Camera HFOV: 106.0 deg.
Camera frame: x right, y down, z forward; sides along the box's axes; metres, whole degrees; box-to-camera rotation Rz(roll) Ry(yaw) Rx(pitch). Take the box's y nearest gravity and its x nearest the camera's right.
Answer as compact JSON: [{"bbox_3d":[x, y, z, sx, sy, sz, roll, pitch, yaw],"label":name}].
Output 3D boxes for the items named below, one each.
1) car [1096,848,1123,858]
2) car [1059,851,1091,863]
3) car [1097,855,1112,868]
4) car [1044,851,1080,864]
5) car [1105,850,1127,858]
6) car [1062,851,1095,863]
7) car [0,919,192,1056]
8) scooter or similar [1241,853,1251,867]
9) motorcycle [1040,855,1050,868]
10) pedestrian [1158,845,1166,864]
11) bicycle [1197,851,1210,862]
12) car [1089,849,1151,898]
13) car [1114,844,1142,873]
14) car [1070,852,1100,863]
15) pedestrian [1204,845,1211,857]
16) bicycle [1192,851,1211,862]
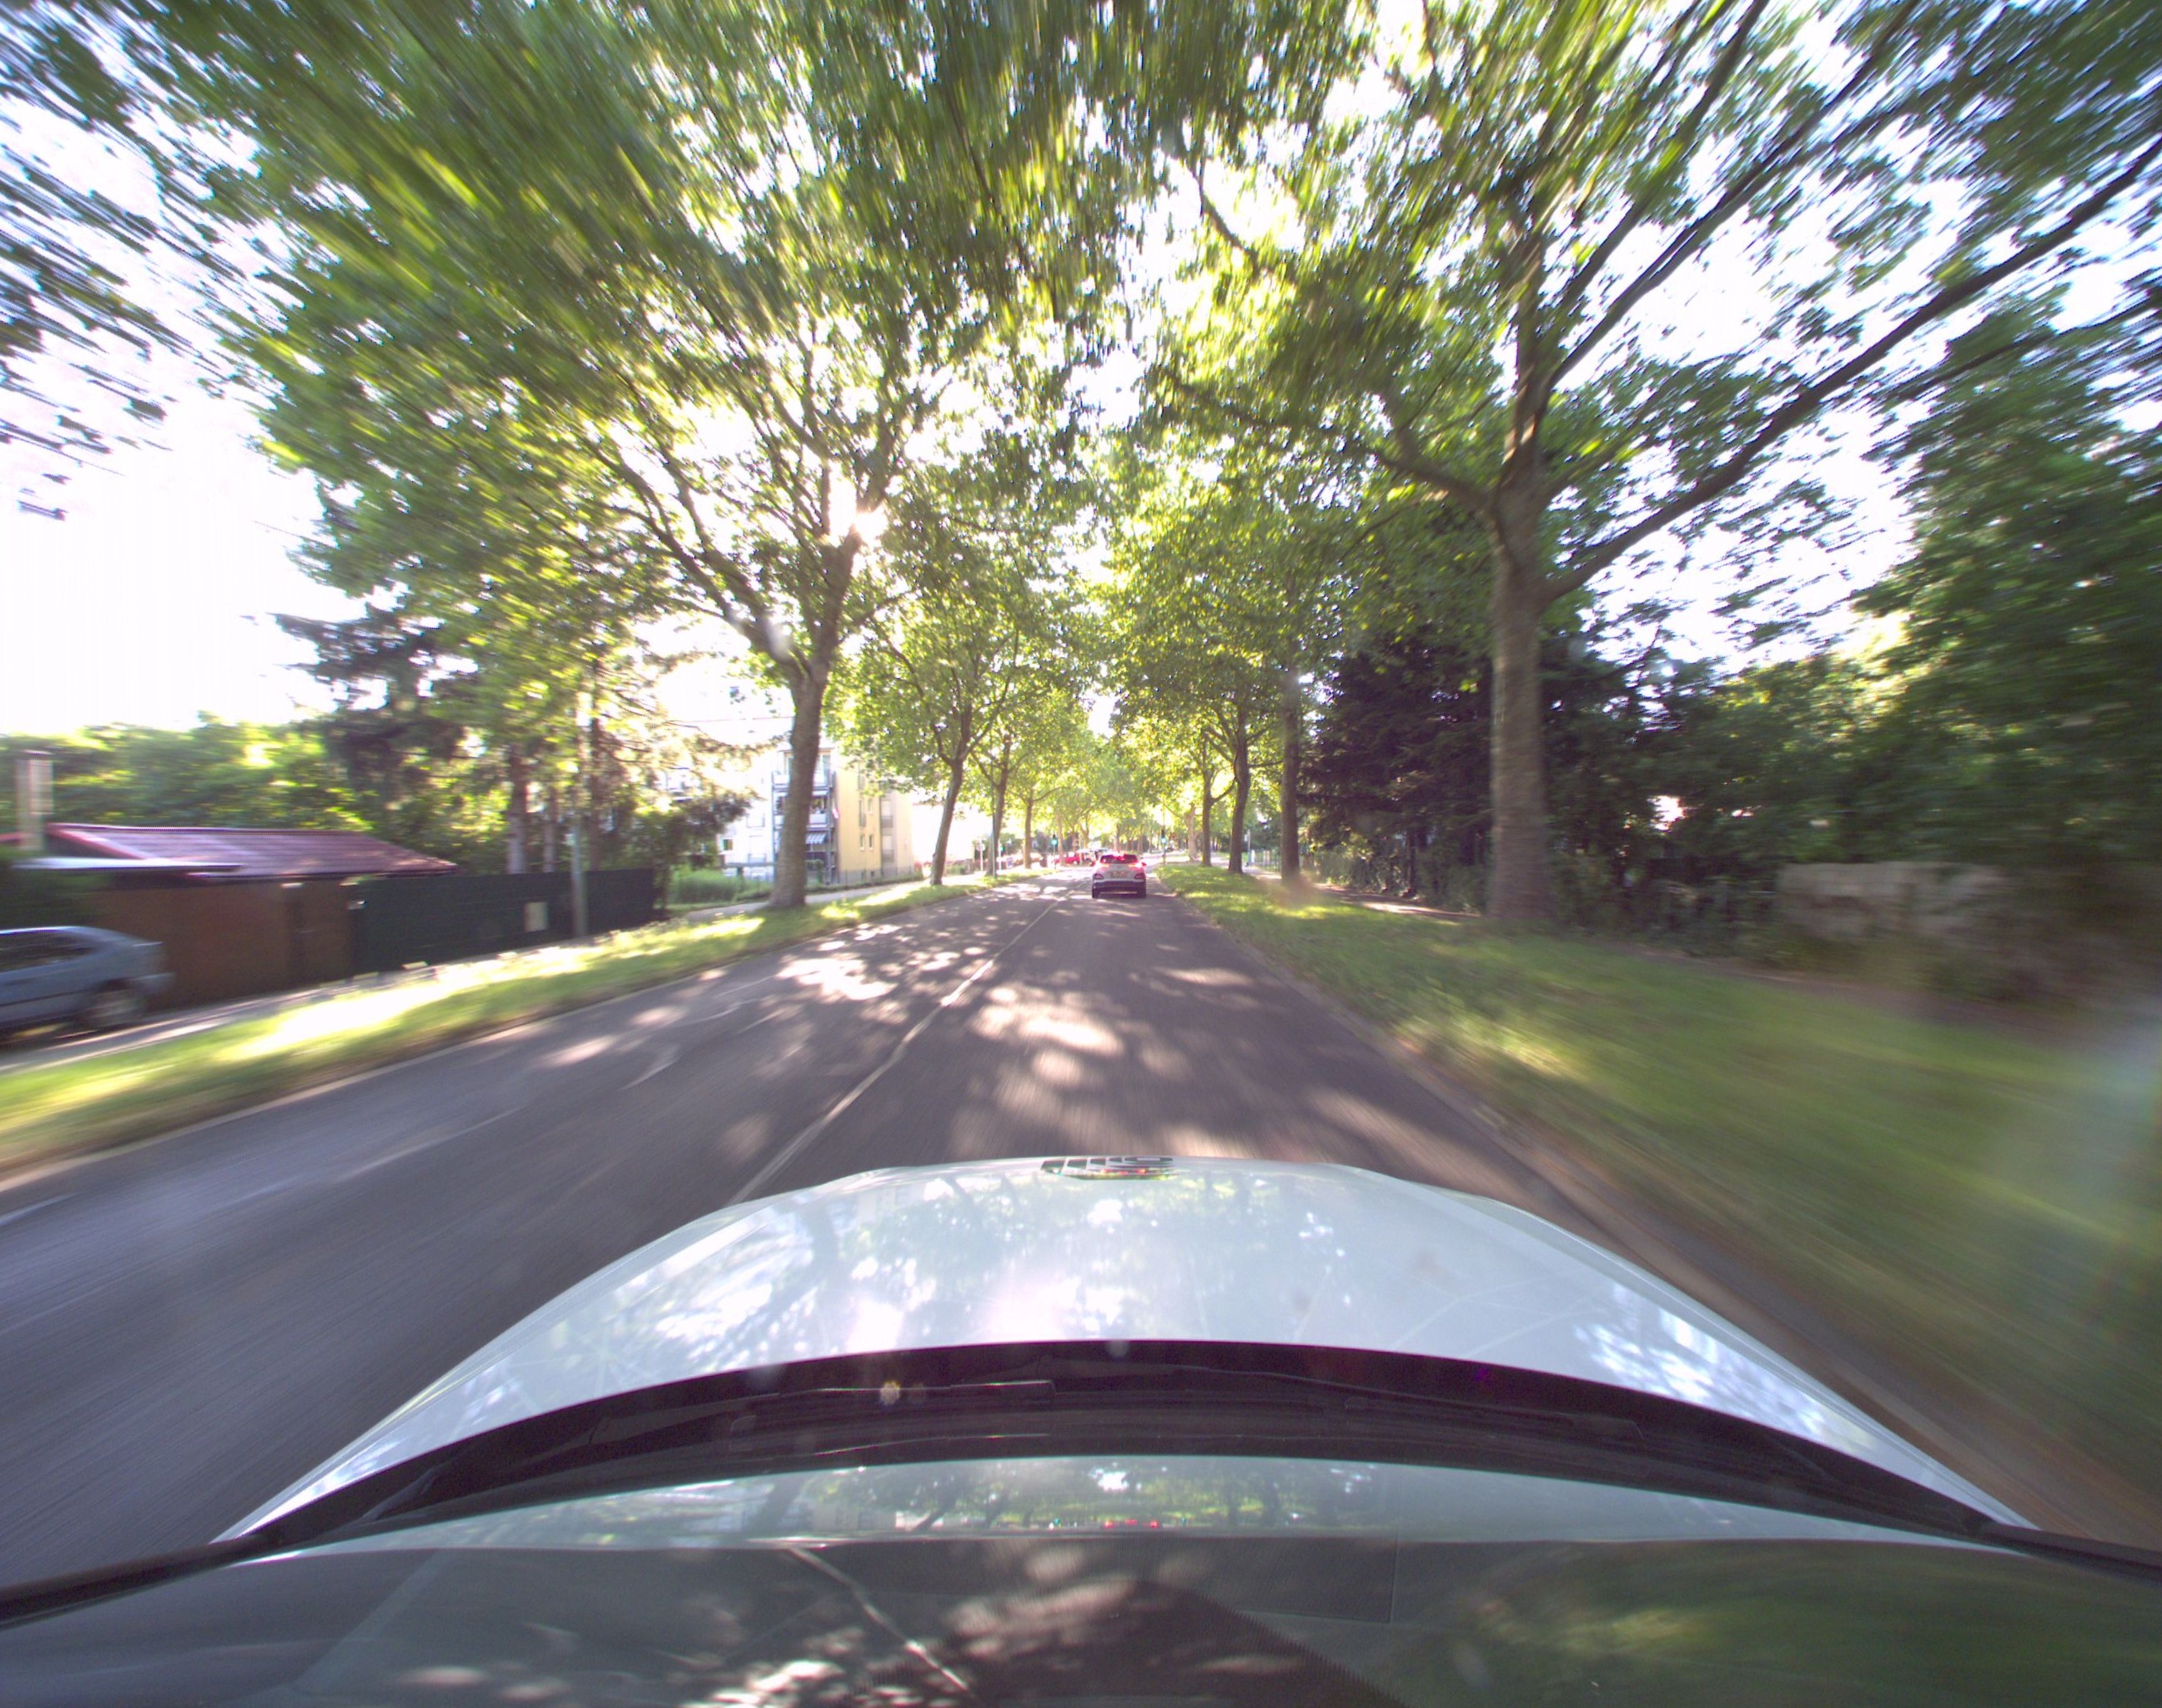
[{"bbox_3d":[4.385,-0.110,125.112,3.968,1.478,2.002,-1,-1,4],"label":"car"},{"bbox_3d":[-0.741,0.379,103.354,3.968,1.478,2.002,-1,-1,4],"label":"car"},{"bbox_3d":[2.849,0.861,97.880,1.680,1.437,3.687,0,1,5],"label":"car"},{"bbox_3d":[-2.206,0.427,95.863,3.968,1.478,2.002,-1,-1,4],"label":"car"},{"bbox_3d":[6.419,-0.015,148.874,3.968,1.478,2.002,-1,-1,4],"label":"car"},{"bbox_3d":[-0.330,0.401,105.693,3.966,1.478,2.004,-1,-1,6],"label":"car"},{"bbox_3d":[-12.655,1.583,8.771,1.747,1.304,3.998,-2,1,-2],"label":"car"},{"bbox_3d":[14.150,0.512,69.931,0.546,1.258,2.316,-1,0,5],"label":"scooter or similar"},{"bbox_3d":[-4.034,0.861,91.248,0.842,1.378,2.779,-1,0,4],"label":"motorcycle"},{"bbox_3d":[8.962,0.026,90.031,0.862,2.013,0.817,-1,1,12],"label":"pedestrian"},{"bbox_3d":[13.439,0.269,89.171,0.604,1.183,2.108,0,0,-15],"label":"bicycle"},{"bbox_3d":[1.401,0.628,28.439,1.985,1.574,4.004,-1,0,4],"label":"car"},{"bbox_3d":[3.411,0.294,59.553,1.986,2.013,4.002,-1,0,2],"label":"car"},{"bbox_3d":[0.565,0.492,109.847,3.968,1.478,2.002,-1,-1,4],"label":"car"},{"bbox_3d":[20.239,-0.465,130.433,1.088,2.013,1.108,-1,0,10],"label":"pedestrian"},{"bbox_3d":[13.003,0.318,87.822,0.608,1.164,2.125,0,-1,-39],"label":"bicycle"}]
